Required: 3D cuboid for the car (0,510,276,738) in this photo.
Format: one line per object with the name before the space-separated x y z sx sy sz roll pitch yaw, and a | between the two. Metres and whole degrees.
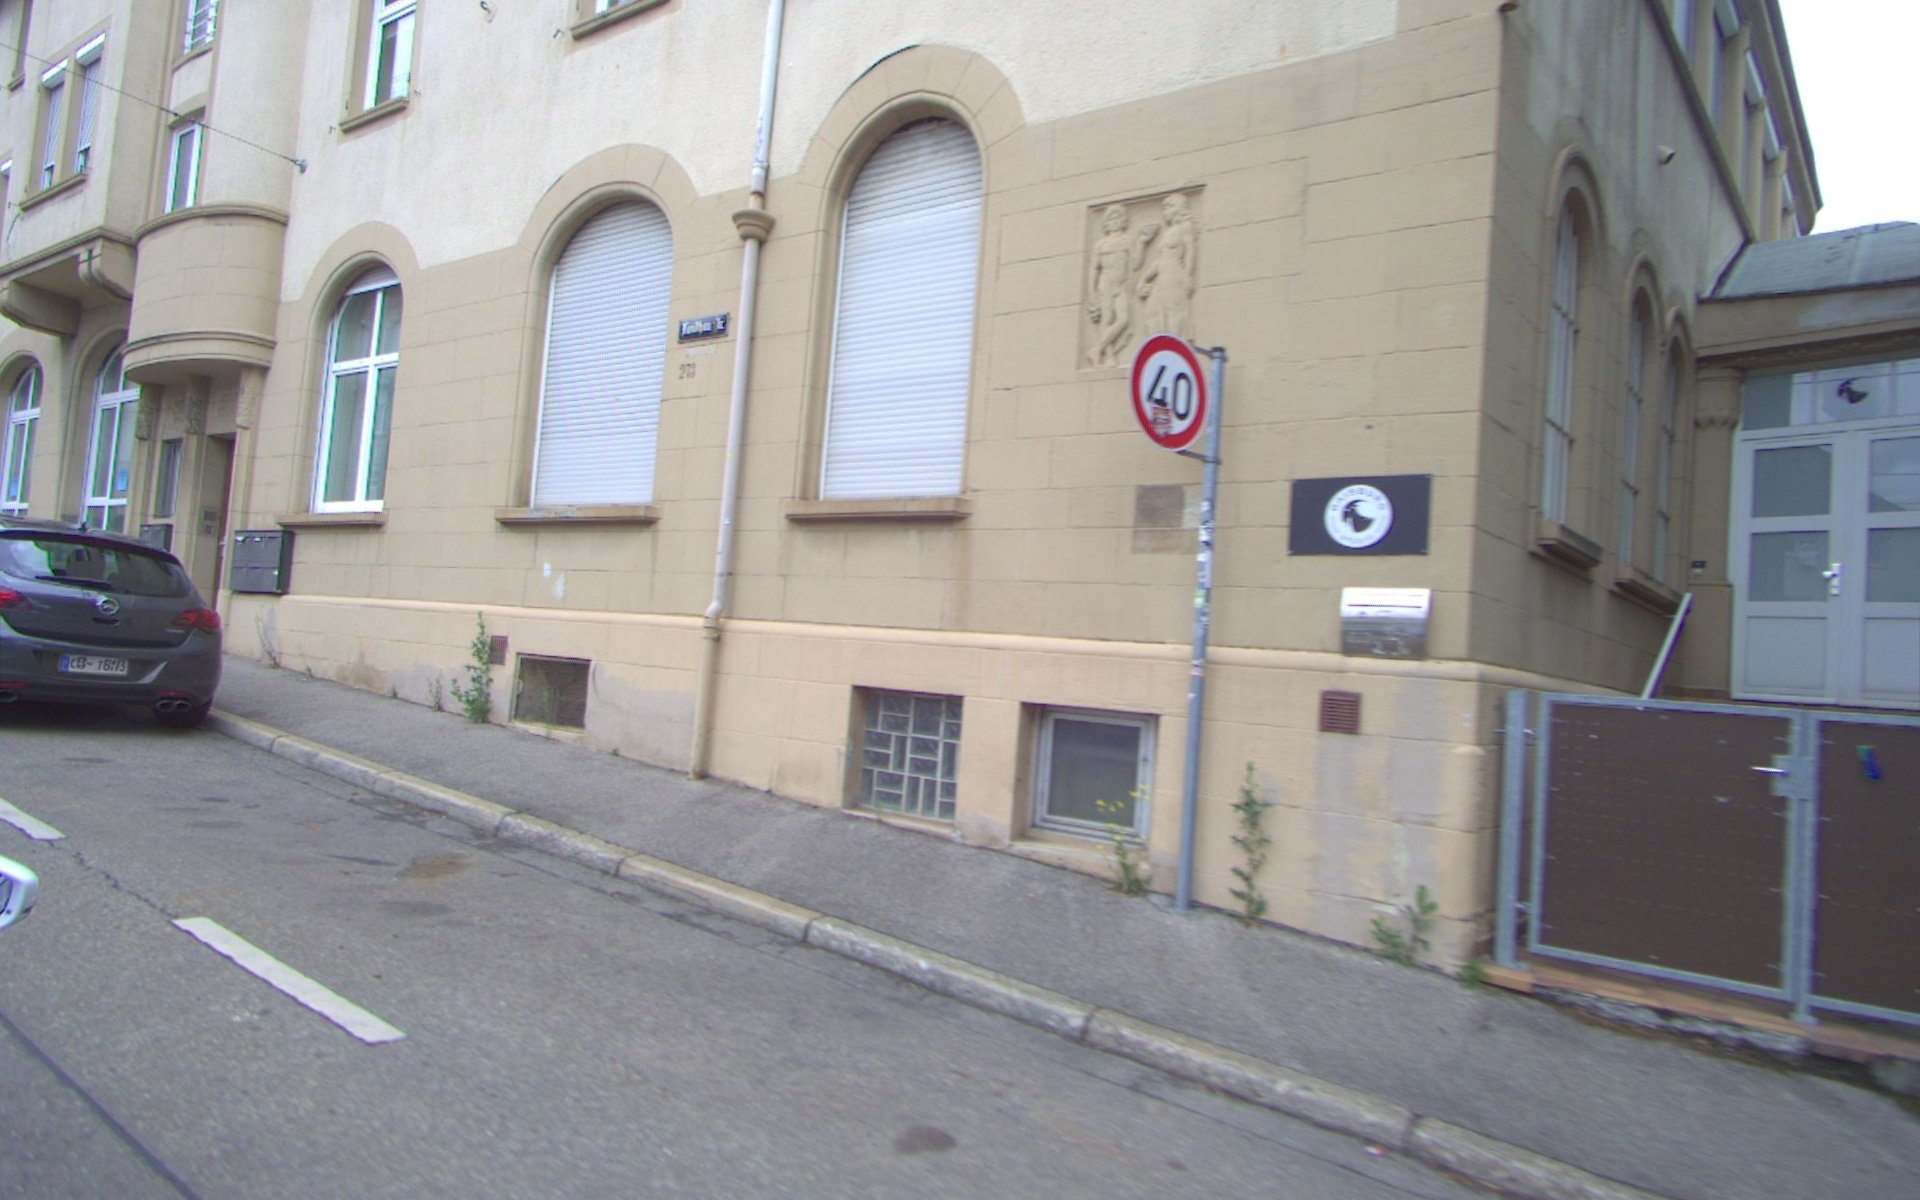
car | -7.529 0.056 7.984 4.099 1.418 1.845 6 -4 32
